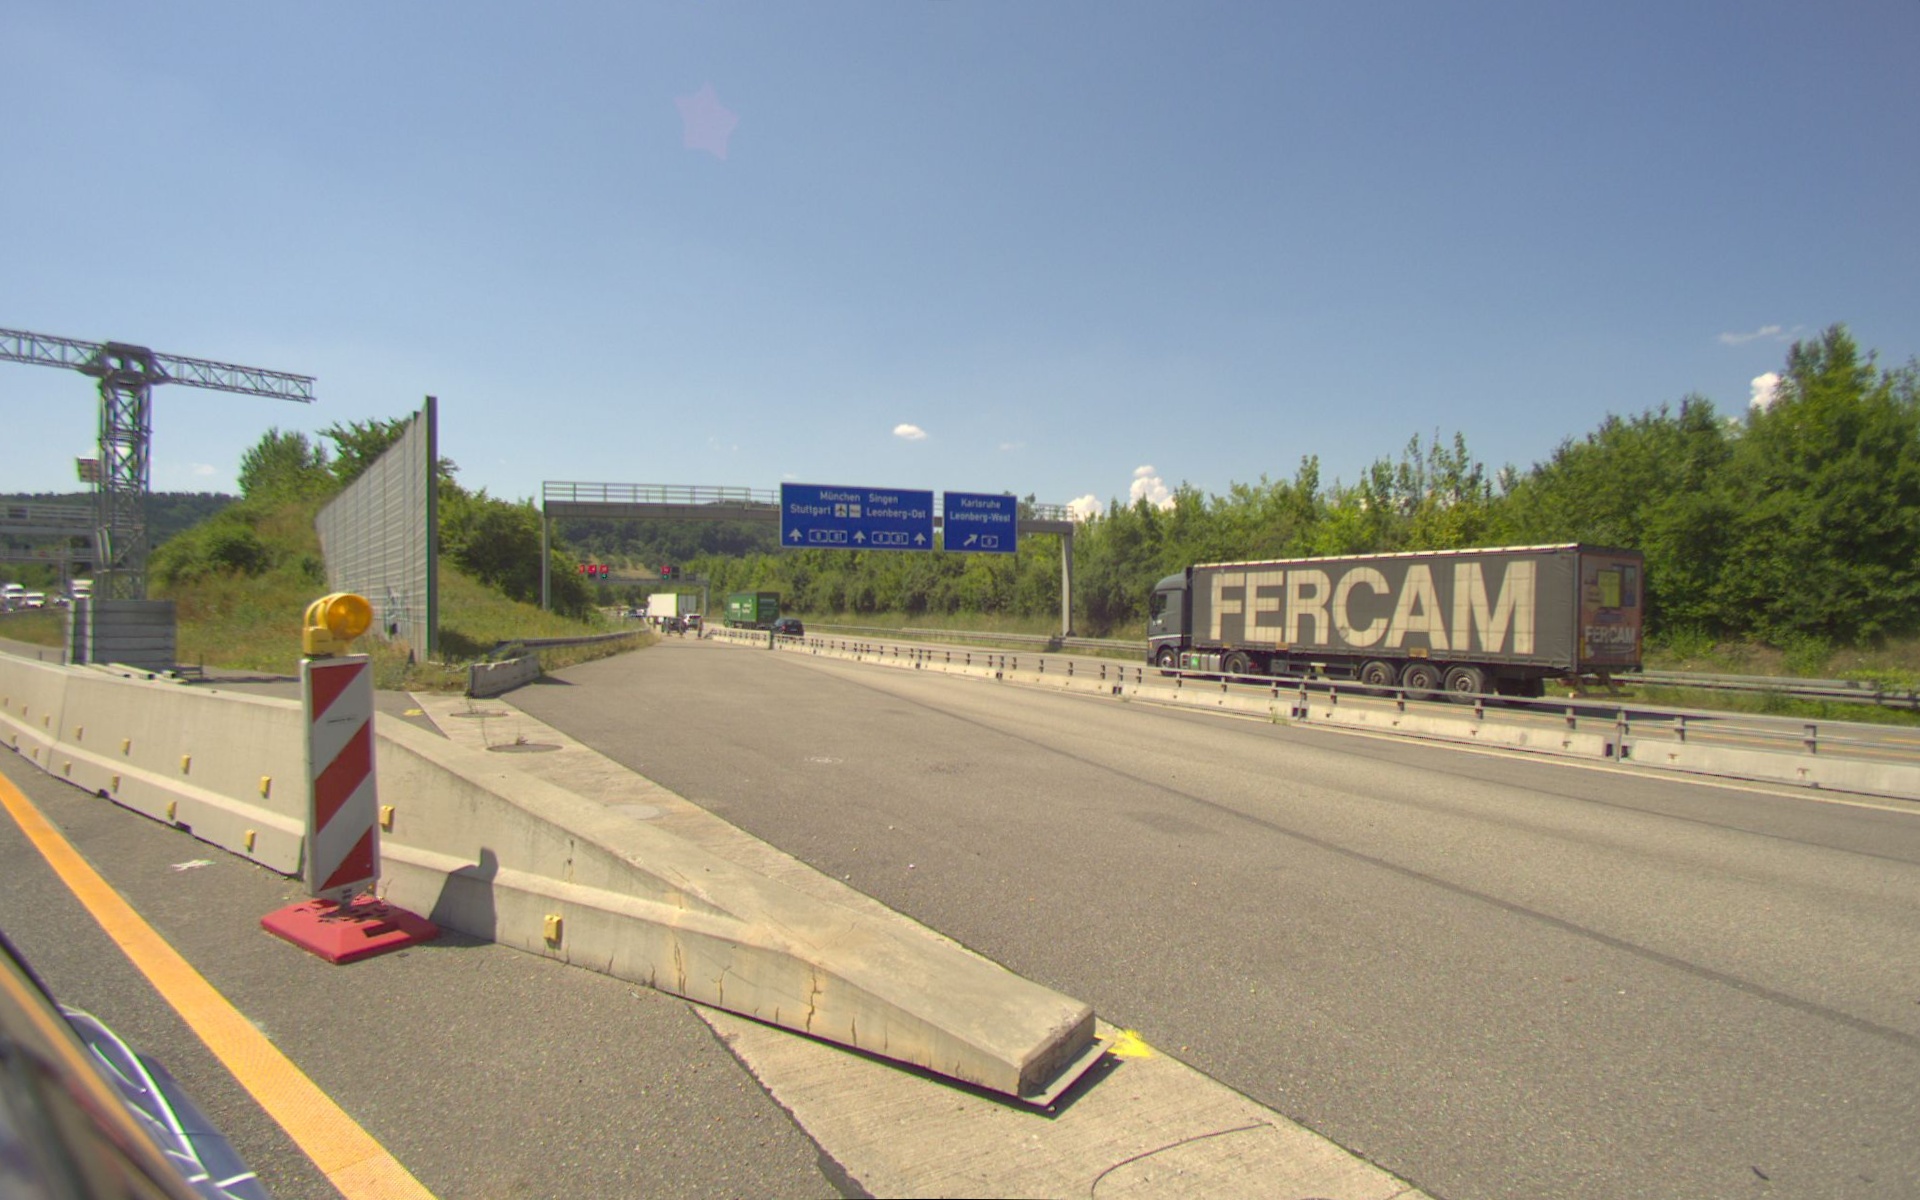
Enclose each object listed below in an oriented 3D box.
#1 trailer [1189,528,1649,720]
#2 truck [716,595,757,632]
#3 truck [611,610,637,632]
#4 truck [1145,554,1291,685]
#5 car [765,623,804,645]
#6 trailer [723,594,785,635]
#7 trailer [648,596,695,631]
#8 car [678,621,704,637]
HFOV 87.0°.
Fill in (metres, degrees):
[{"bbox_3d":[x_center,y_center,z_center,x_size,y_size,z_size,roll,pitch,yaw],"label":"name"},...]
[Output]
[{"bbox_3d":[12.125,0.605,29.564,2.401,4.329,13.854,1,-1,-26],"label":"trailer"},{"bbox_3d":[-26.490,1.523,119.958,3.496,4.302,5.798,0,0,-26],"label":"truck"},{"bbox_3d":[-72.664,4.443,218.764,3.496,4.302,13.954,0,0,-26],"label":"truck"},{"bbox_3d":[9.033,0.668,35.844,2.397,4.302,4.854,1,-1,-27],"label":"truck"},{"bbox_3d":[-13.038,2.516,74.938,1.692,1.502,3.699,1,-1,-30],"label":"car"},{"bbox_3d":[-23.278,1.533,113.301,3.496,4.302,13.954,0,0,-26],"label":"trailer"},{"bbox_3d":[-37.495,1.617,131.057,3.496,4.302,13.954,0,0,-26],"label":"trailer"},{"bbox_3d":[-28.310,3.062,106.498,1.692,1.636,4.183,1,-1,-29],"label":"car"}]
